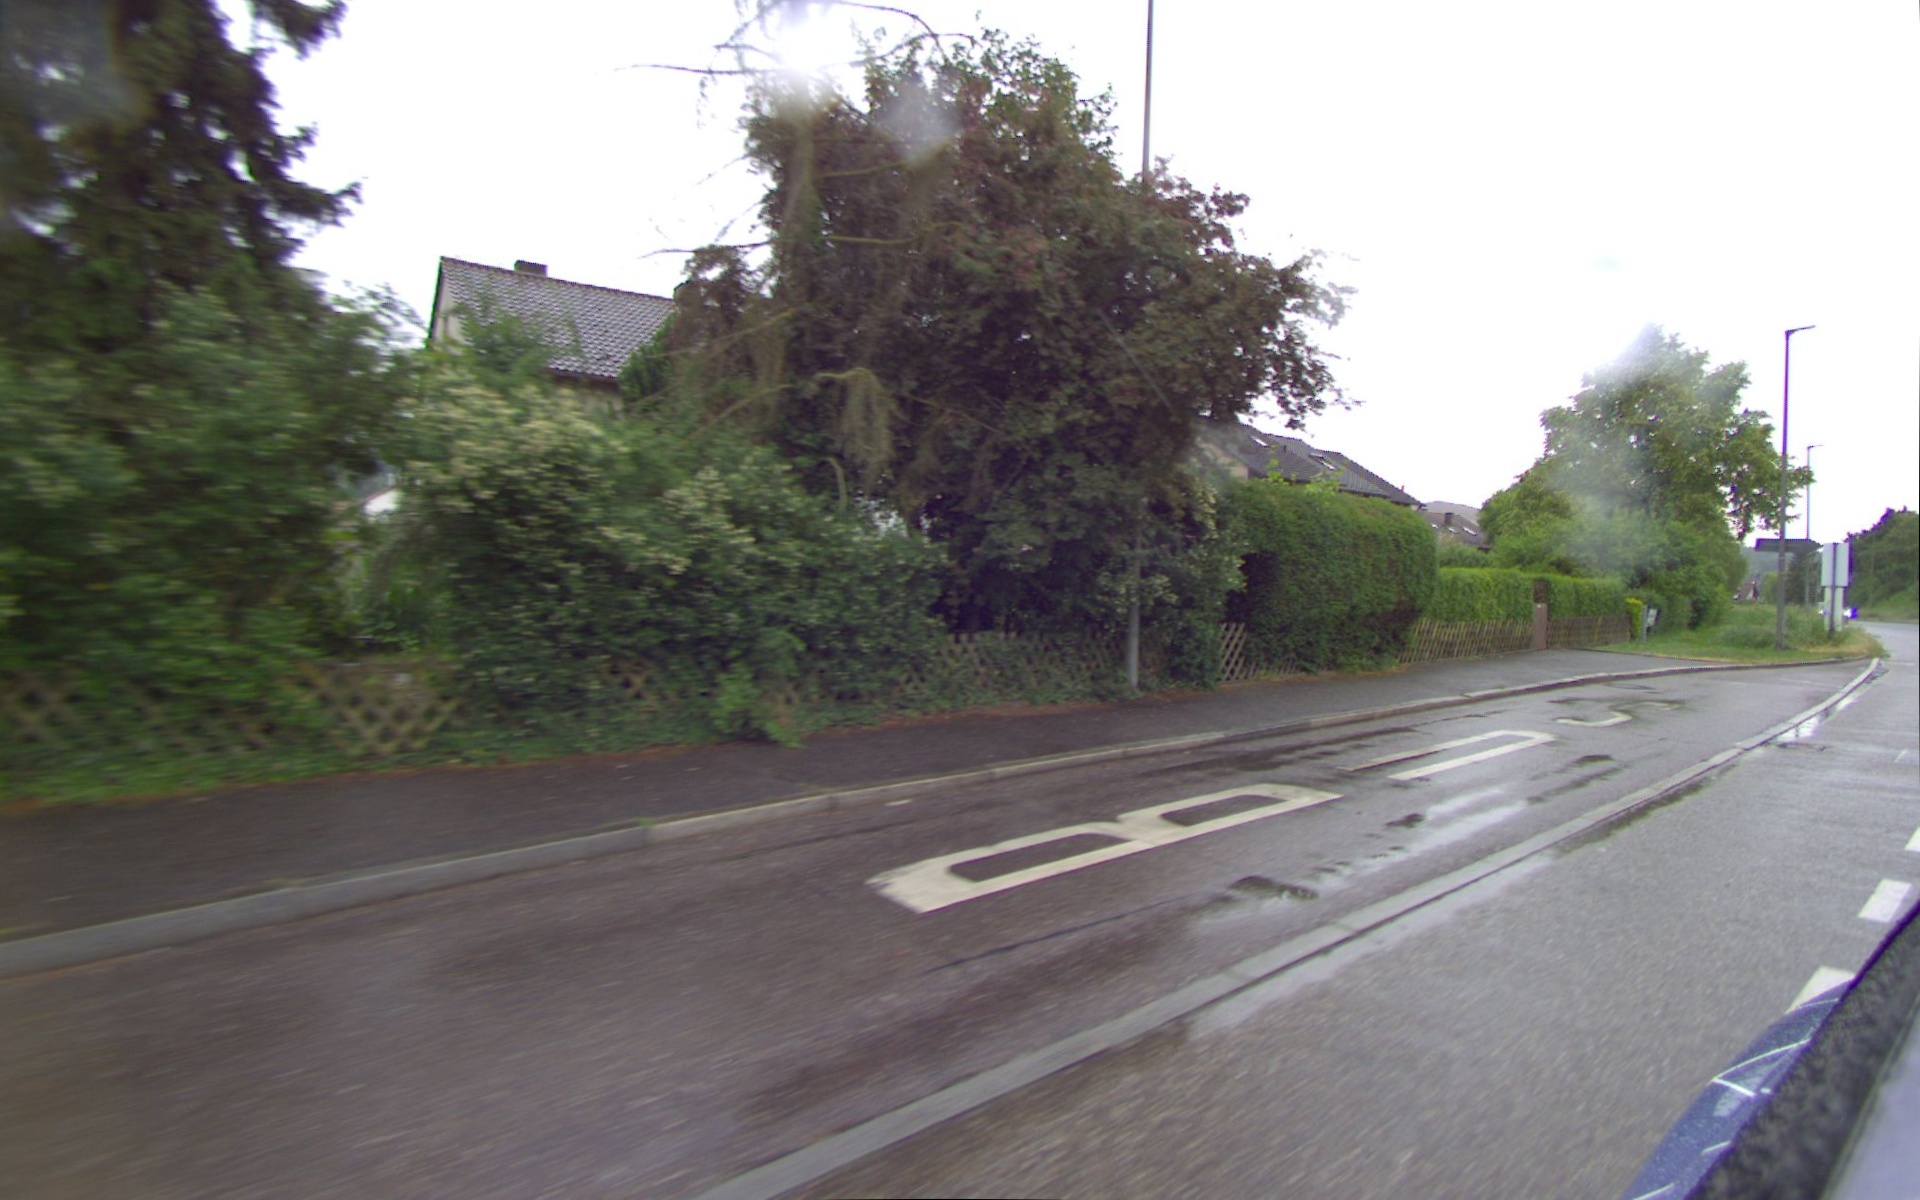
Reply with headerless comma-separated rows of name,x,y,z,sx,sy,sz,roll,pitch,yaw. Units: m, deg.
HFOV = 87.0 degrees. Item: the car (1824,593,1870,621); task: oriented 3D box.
car,62.430,0.497,71.284,1.988,1.864,3.949,2,1,35
